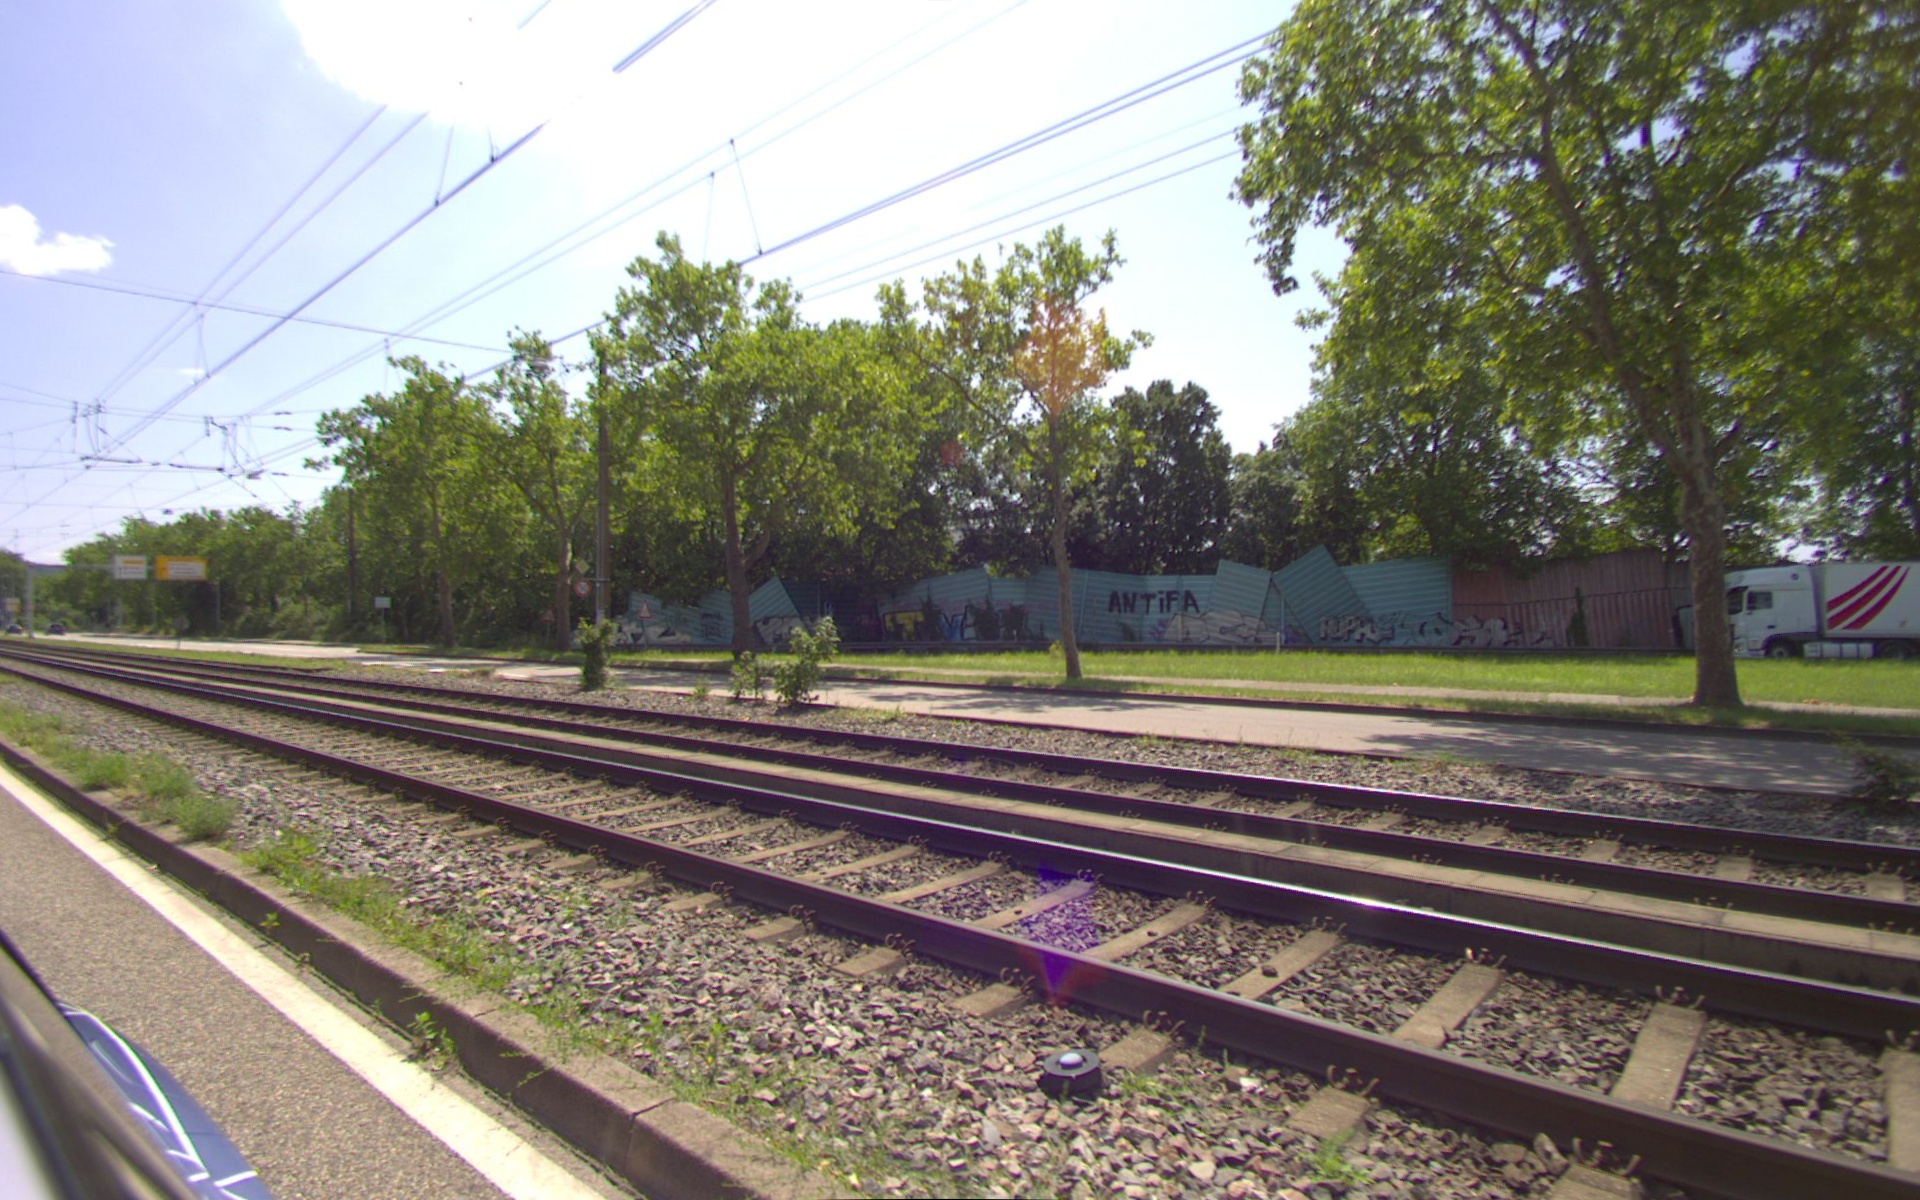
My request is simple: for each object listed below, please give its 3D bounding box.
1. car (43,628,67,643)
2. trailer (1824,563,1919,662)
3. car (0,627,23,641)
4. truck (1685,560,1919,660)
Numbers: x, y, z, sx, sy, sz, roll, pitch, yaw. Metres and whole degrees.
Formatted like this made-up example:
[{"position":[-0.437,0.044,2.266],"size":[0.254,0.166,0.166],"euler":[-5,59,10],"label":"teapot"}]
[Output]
[{"position":[-122.392,4.776,136.822],"size":[3.998,1.807,1.973],"euler":[-1,0,41],"label":"car"},{"position":[40.661,0.446,38.027],"size":[12.000,3.683,3.371],"euler":[-1,-2,16],"label":"trailer"},{"position":[-132.589,4.745,141.413],"size":[3.998,1.807,1.973],"euler":[-1,0,41],"label":"car"},{"position":[33.419,0.461,40.117],"size":[6.698,3.730,3.401],"euler":[-1,-2,16],"label":"truck"}]
